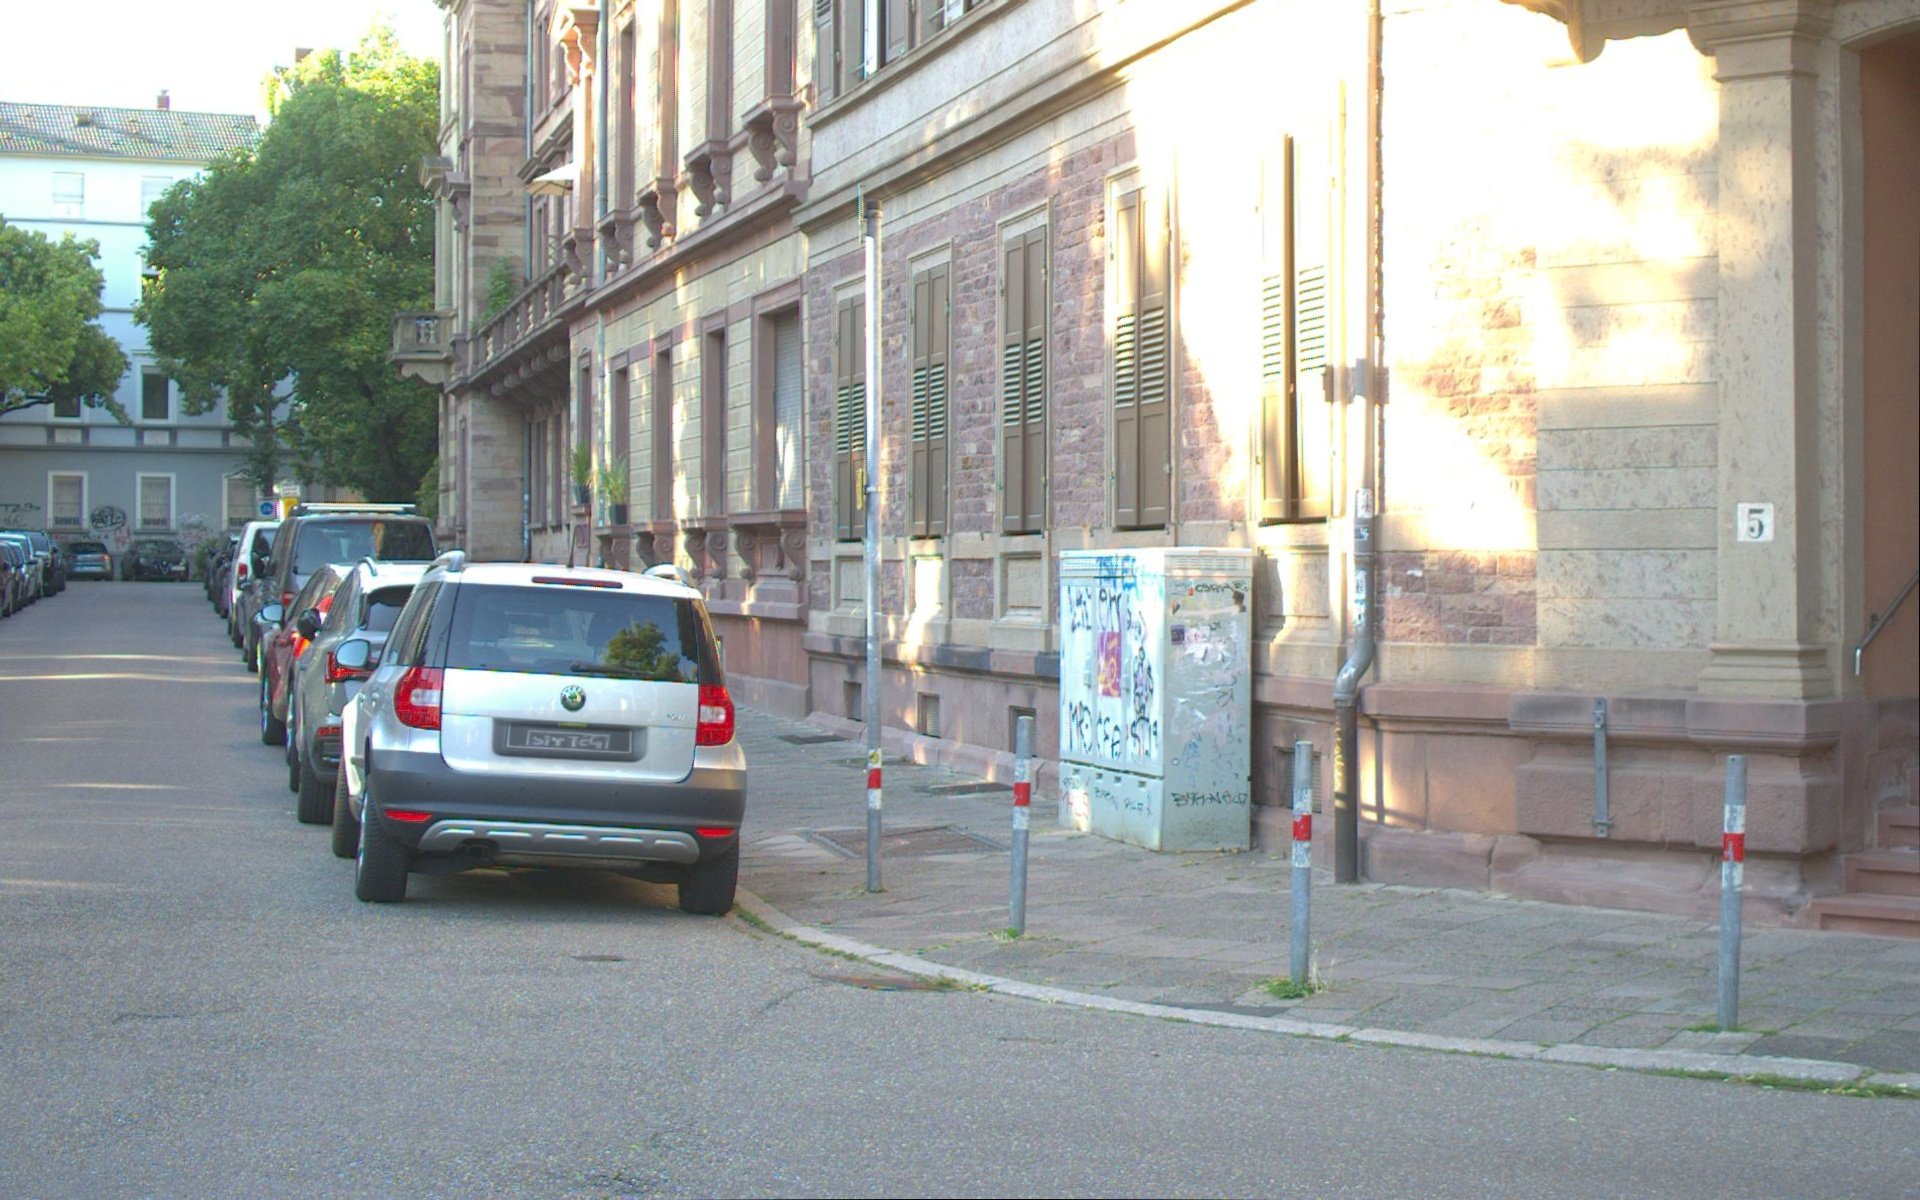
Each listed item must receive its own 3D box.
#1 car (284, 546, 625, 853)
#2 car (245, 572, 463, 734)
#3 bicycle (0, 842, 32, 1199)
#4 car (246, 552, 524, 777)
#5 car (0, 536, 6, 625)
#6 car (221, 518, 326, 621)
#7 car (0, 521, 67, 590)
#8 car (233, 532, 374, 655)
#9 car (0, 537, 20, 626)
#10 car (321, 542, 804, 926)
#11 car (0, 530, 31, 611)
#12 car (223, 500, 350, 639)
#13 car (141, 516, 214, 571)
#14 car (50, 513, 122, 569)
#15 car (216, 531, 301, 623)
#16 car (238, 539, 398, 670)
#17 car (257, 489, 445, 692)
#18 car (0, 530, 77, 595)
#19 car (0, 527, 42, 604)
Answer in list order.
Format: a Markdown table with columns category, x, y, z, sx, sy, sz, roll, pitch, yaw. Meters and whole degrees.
| category | x | y | z | sx | sy | sz | roll | pitch | yaw |
| --- | --- | --- | --- | --- | --- | --- | --- | --- | --- |
| car | -3.415 | 0.561 | 22.527 | 1.825 | 1.718 | 4.545 | 3 | 0 | -12 |
| car | -5.819 | 0.463 | 32.699 | 1.797 | 1.341 | 3.956 | 3 | 0 | -13 |
| bicycle | -2.398 | 0.896 | 4.686 | 2.118 | 1.050 | 0.700 | 0 | 1 | -45 |
| car | -4.752 | 0.468 | 28.010 | 1.797 | 1.608 | 3.956 | 3 | 0 | -15 |
| car | -16.549 | -0.345 | 55.637 | 1.825 | 1.495 | 3.932 | 3 | 0 | -12 |
| car | -13.204 | -0.593 | 66.024 | 1.797 | 1.832 | 3.956 | 3 | 0 | -13 |
| car | -22.085 | -1.067 | 80.876 | 1.825 | 1.495 | 3.932 | 3 | 0 | -12 |
| car | -9.461 | -0.122 | 49.346 | 1.797 | 1.617 | 3.956 | 3 | 0 | -13 |
| car | -17.496 | -0.386 | 59.971 | 1.825 | 1.495 | 3.932 | 3 | 0 | -12 |
| car | -2.166 | 0.602 | 17.631 | 1.915 | 1.651 | 4.188 | 3 | 0 | -13 |
| car | -18.862 | -0.626 | 65.749 | 1.825 | 1.495 | 3.932 | 3 | 0 | -12 |
| car | -10.799 | -0.502 | 54.951 | 1.797 | 2.065 | 3.956 | 3 | 0 | -13 |
| car | -26.139 | -1.866 | 114.771 | 1.993 | 1.678 | 4.001 | 1 | -1 | -18 |
| car | -28.876 | -1.942 | 113.474 | 1.993 | 1.678 | 4.001 | 1 | -1 | -18 |
| car | -16.441 | -0.554 | 80.482 | 1.797 | 2.010 | 3.956 | 3 | 0 | -13 |
| car | -8.235 | 0.024 | 43.851 | 1.797 | 1.518 | 3.956 | 3 | 0 | -13 |
| car | -6.867 | -0.130 | 38.505 | 1.797 | 2.065 | 3.956 | 3 | 0 | -13 |
| car | -23.128 | -0.956 | 85.873 | 1.825 | 1.495 | 3.932 | 3 | 0 | -12 |
| car | -19.755 | -0.756 | 69.935 | 1.825 | 1.495 | 3.932 | 3 | 0 | -12 |
